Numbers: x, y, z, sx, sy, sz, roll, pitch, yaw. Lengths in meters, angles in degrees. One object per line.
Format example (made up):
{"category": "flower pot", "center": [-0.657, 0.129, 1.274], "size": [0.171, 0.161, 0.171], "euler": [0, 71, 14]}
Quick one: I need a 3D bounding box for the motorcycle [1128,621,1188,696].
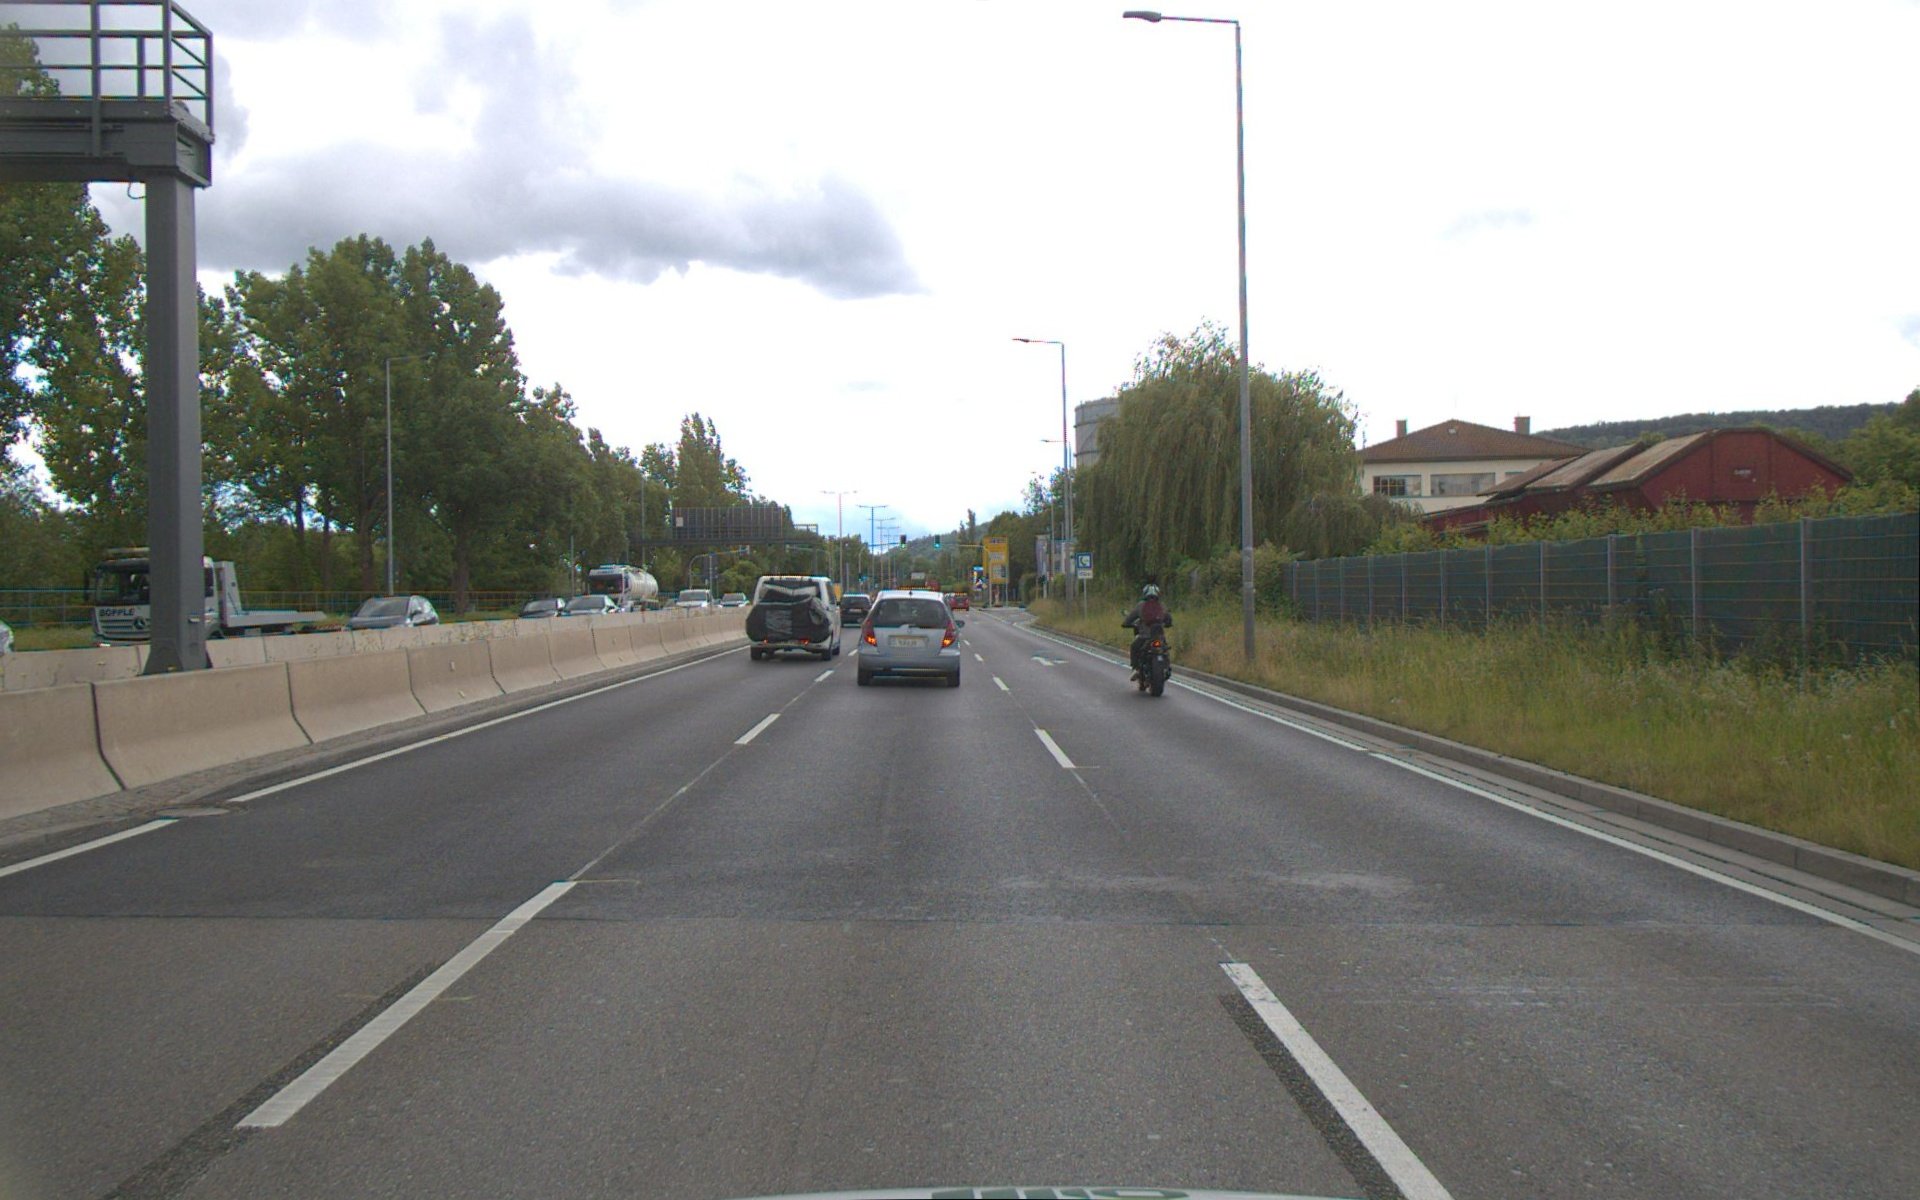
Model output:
{"category": "motorcycle", "center": [3.072, 0.892, 25.849], "size": [0.692, 1.058, 2.027], "euler": [1, 0, 1]}

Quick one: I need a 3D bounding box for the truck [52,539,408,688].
{"category": "truck", "center": [-18.505, 0.221, 43.880], "size": [2.796, 3.161, 15.880], "euler": [1, 0, -2]}

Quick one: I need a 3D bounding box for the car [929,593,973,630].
{"category": "car", "center": [-0.421, 0.482, 71.013], "size": [1.803, 1.489, 3.999], "euler": [1, 0, -1]}

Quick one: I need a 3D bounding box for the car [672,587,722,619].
{"category": "car", "center": [-14.276, 0.152, 89.974], "size": [1.953, 1.646, 4.696], "euler": [1, 0, -1]}

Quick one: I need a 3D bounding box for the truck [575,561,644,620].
{"category": "truck", "center": [-20.324, -0.560, 96.045], "size": [3.036, 3.275, 5.388], "euler": [1, 0, -3]}

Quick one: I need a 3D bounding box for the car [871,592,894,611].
{"category": "car", "center": [-6.668, 0.138, 142.695], "size": [1.953, 1.579, 3.999], "euler": [1, 0, -2]}

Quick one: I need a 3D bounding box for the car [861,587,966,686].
{"category": "car", "center": [-0.802, 0.579, 28.952], "size": [1.676, 1.556, 3.999], "euler": [1, 0, -1]}

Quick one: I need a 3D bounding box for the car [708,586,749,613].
{"category": "car", "center": [-14.990, -0.039, 107.322], "size": [1.953, 1.646, 4.696], "euler": [1, 0, -1]}

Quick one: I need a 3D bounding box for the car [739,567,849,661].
{"category": "car", "center": [-3.735, 0.281, 38.077], "size": [2.170, 1.959, 5.000], "euler": [1, 0, -2]}

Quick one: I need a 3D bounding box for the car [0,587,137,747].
{"category": "car", "center": [-11.084, 0.699, 18.134], "size": [1.887, 1.646, 4.455], "euler": [1, 0, -1]}

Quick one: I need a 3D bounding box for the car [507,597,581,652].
{"category": "car", "center": [-16.534, 0.946, 65.864], "size": [1.953, 2.049, 3.999], "euler": [1, 0, -1]}

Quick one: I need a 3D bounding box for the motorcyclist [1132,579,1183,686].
{"category": "motorcyclist", "center": [3.081, 0.498, 25.834], "size": [0.670, 1.638, 0.845], "euler": [1, 0, 1]}

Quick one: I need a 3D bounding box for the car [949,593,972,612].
{"category": "car", "center": [0.026, 0.209, 149.140], "size": [1.953, 1.579, 3.999], "euler": [1, 0, -2]}

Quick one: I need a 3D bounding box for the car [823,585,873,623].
{"category": "car", "center": [-4.916, 0.151, 72.947], "size": [1.953, 1.579, 3.999], "euler": [1, 0, -1]}

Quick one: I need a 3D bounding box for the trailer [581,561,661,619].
{"category": "trailer", "center": [-20.618, -0.617, 101.329], "size": [3.039, 3.276, 11.661], "euler": [1, 0, -3]}

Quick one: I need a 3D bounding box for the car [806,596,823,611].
{"category": "car", "center": [-17.902, 0.410, 203.475], "size": [1.840, 1.712, 4.125], "euler": [1, 0, -1]}

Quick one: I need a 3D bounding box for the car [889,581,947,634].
{"category": "car", "center": [-1.419, 0.238, 57.027], "size": [1.869, 1.713, 4.000], "euler": [1, 0, -1]}

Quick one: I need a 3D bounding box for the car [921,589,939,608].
{"category": "car", "center": [-3.278, -0.166, 180.307], "size": [1.953, 2.049, 4.000], "euler": [1, 0, -1]}

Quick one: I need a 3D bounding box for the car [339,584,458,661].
{"category": "car", "center": [-14.984, 0.555, 44.341], "size": [1.779, 1.909, 4.100], "euler": [1, 0, -1]}
